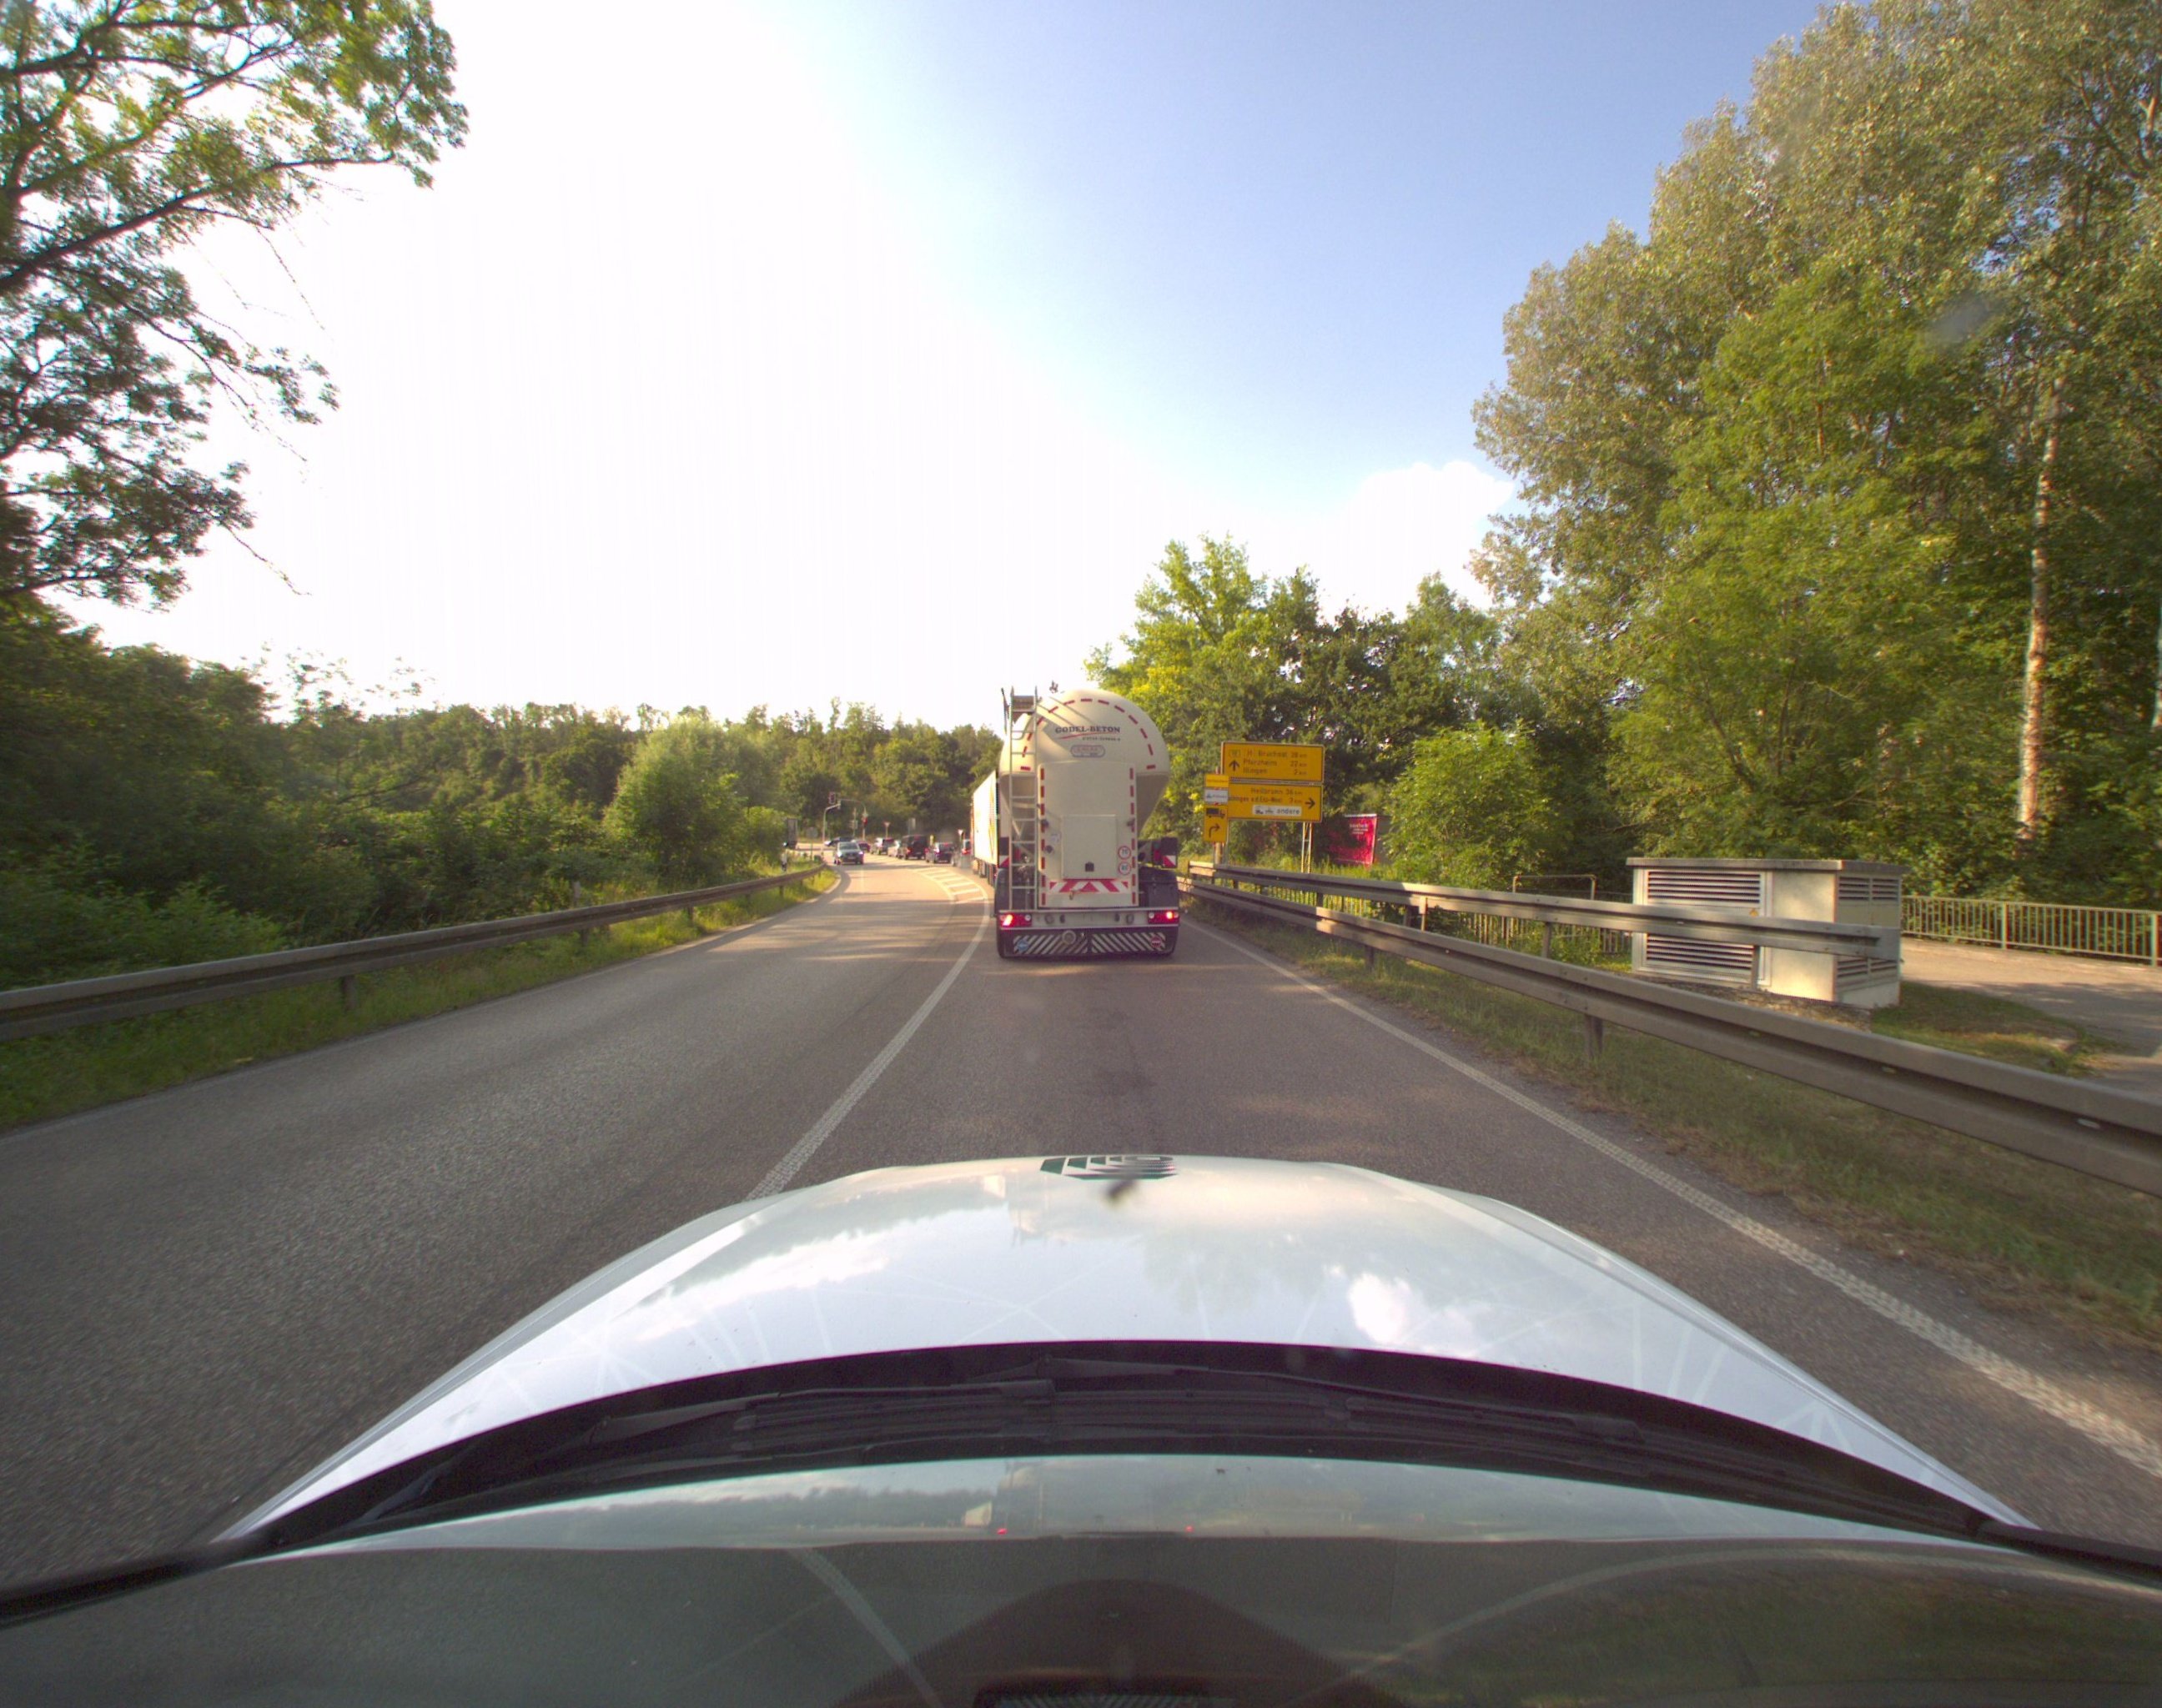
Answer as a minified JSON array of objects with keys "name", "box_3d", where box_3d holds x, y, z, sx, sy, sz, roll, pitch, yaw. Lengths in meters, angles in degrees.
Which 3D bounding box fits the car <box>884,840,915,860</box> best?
[{"name":"car","box_3d":[-16.371,-0.392,73.420,1.877,1.683,3.966,1,0,-26]}]

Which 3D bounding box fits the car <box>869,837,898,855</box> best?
[{"name":"car","box_3d":[-19.288,-0.788,79.386,1.877,1.595,3.966,2,0,-26]}]

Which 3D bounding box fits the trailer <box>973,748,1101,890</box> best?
[{"name":"trailer","box_3d":[-2.247,-1.135,32.564,3.546,4.513,12.938,1,0,-10]}]

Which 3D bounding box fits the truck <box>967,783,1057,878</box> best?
[{"name":"truck","box_3d":[-3.421,-1.013,38.717,3.453,4.086,6.463,1,0,-12]}]

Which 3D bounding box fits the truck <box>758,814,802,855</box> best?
[{"name":"truck","box_3d":[-35.658,-2.274,96.869,3.013,4.584,10.204,2,0,-11]}]

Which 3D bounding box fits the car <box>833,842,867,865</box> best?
[{"name":"car","box_3d":[-16.539,-0.050,58.189,1.876,1.564,3.970,-2,1,-23]}]

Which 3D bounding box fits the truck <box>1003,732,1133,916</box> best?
[{"name":"truck","box_3d":[-0.547,-0.695,20.931,2.820,4.034,5.882,0,0,-6]}]

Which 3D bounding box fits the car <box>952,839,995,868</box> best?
[{"name":"car","box_3d":[-6.524,-0.076,49.178,1.872,1.628,3.977,-2,1,-17]}]

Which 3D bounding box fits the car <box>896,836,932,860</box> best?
[{"name":"car","box_3d":[-13.679,-0.551,66.395,1.966,1.851,3.967,-2,2,-25]}]

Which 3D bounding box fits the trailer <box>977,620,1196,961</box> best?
[{"name":"trailer","box_3d":[-0.173,-0.862,15.530,2.880,4.454,9.594,0,0,-3]}]

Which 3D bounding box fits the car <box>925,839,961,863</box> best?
[{"name":"car","box_3d":[-9.832,-0.245,57.842,1.873,1.564,3.974,-2,1,-19]}]

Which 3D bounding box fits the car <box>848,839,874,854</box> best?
[{"name":"car","box_3d":[-23.489,-0.829,86.734,1.878,1.565,3.965,1,0,-27]}]
